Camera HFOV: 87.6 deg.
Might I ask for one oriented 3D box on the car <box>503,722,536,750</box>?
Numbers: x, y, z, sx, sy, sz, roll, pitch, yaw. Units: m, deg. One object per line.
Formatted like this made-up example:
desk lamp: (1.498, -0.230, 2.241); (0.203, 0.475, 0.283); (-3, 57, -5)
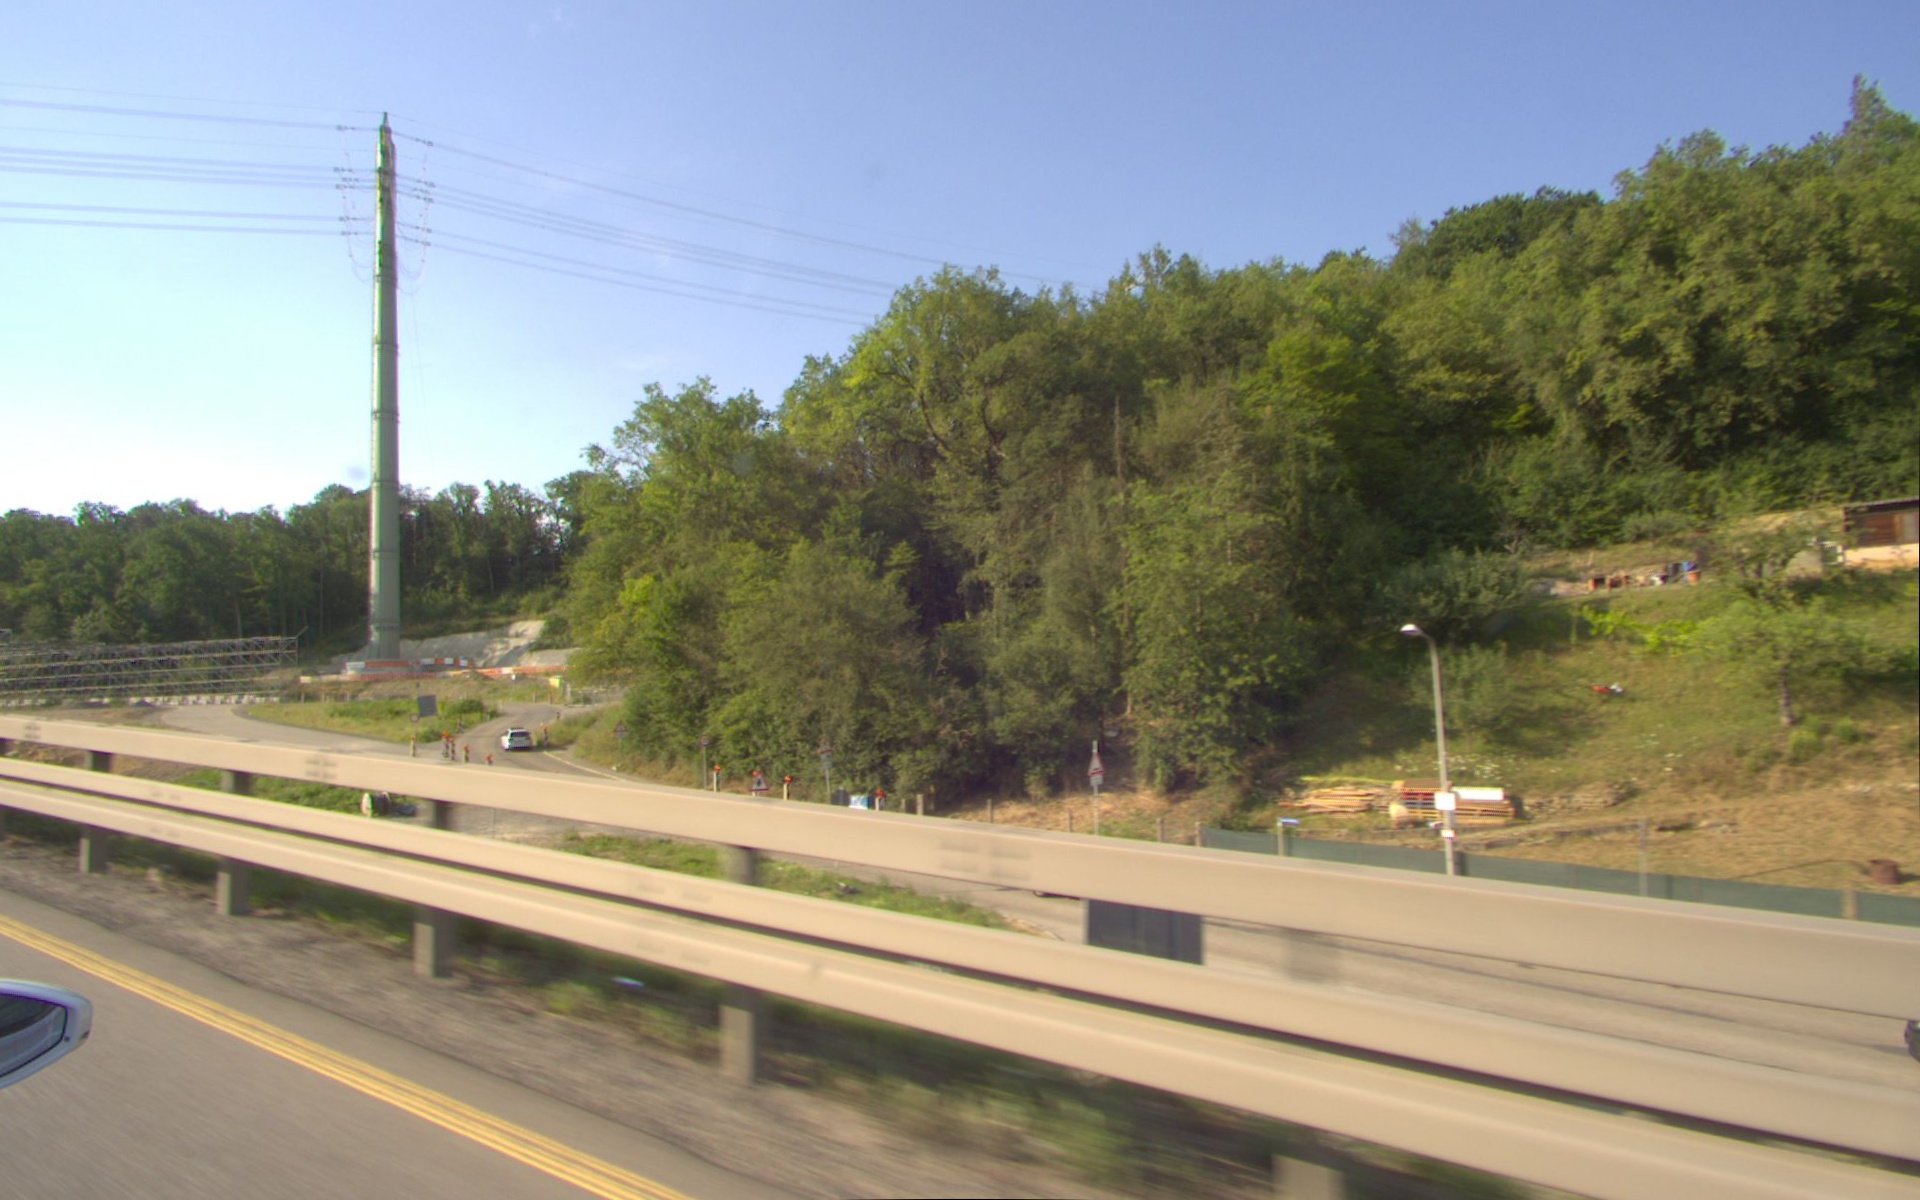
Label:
car: (-30.757, 9.492, 69.972); (1.503, 1.479, 4.262); (-1, -2, -16)

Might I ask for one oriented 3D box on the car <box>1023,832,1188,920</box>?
car: (4.023, 7.685, 28.210); (4.424, 1.681, 1.661); (-5, -6, 42)
